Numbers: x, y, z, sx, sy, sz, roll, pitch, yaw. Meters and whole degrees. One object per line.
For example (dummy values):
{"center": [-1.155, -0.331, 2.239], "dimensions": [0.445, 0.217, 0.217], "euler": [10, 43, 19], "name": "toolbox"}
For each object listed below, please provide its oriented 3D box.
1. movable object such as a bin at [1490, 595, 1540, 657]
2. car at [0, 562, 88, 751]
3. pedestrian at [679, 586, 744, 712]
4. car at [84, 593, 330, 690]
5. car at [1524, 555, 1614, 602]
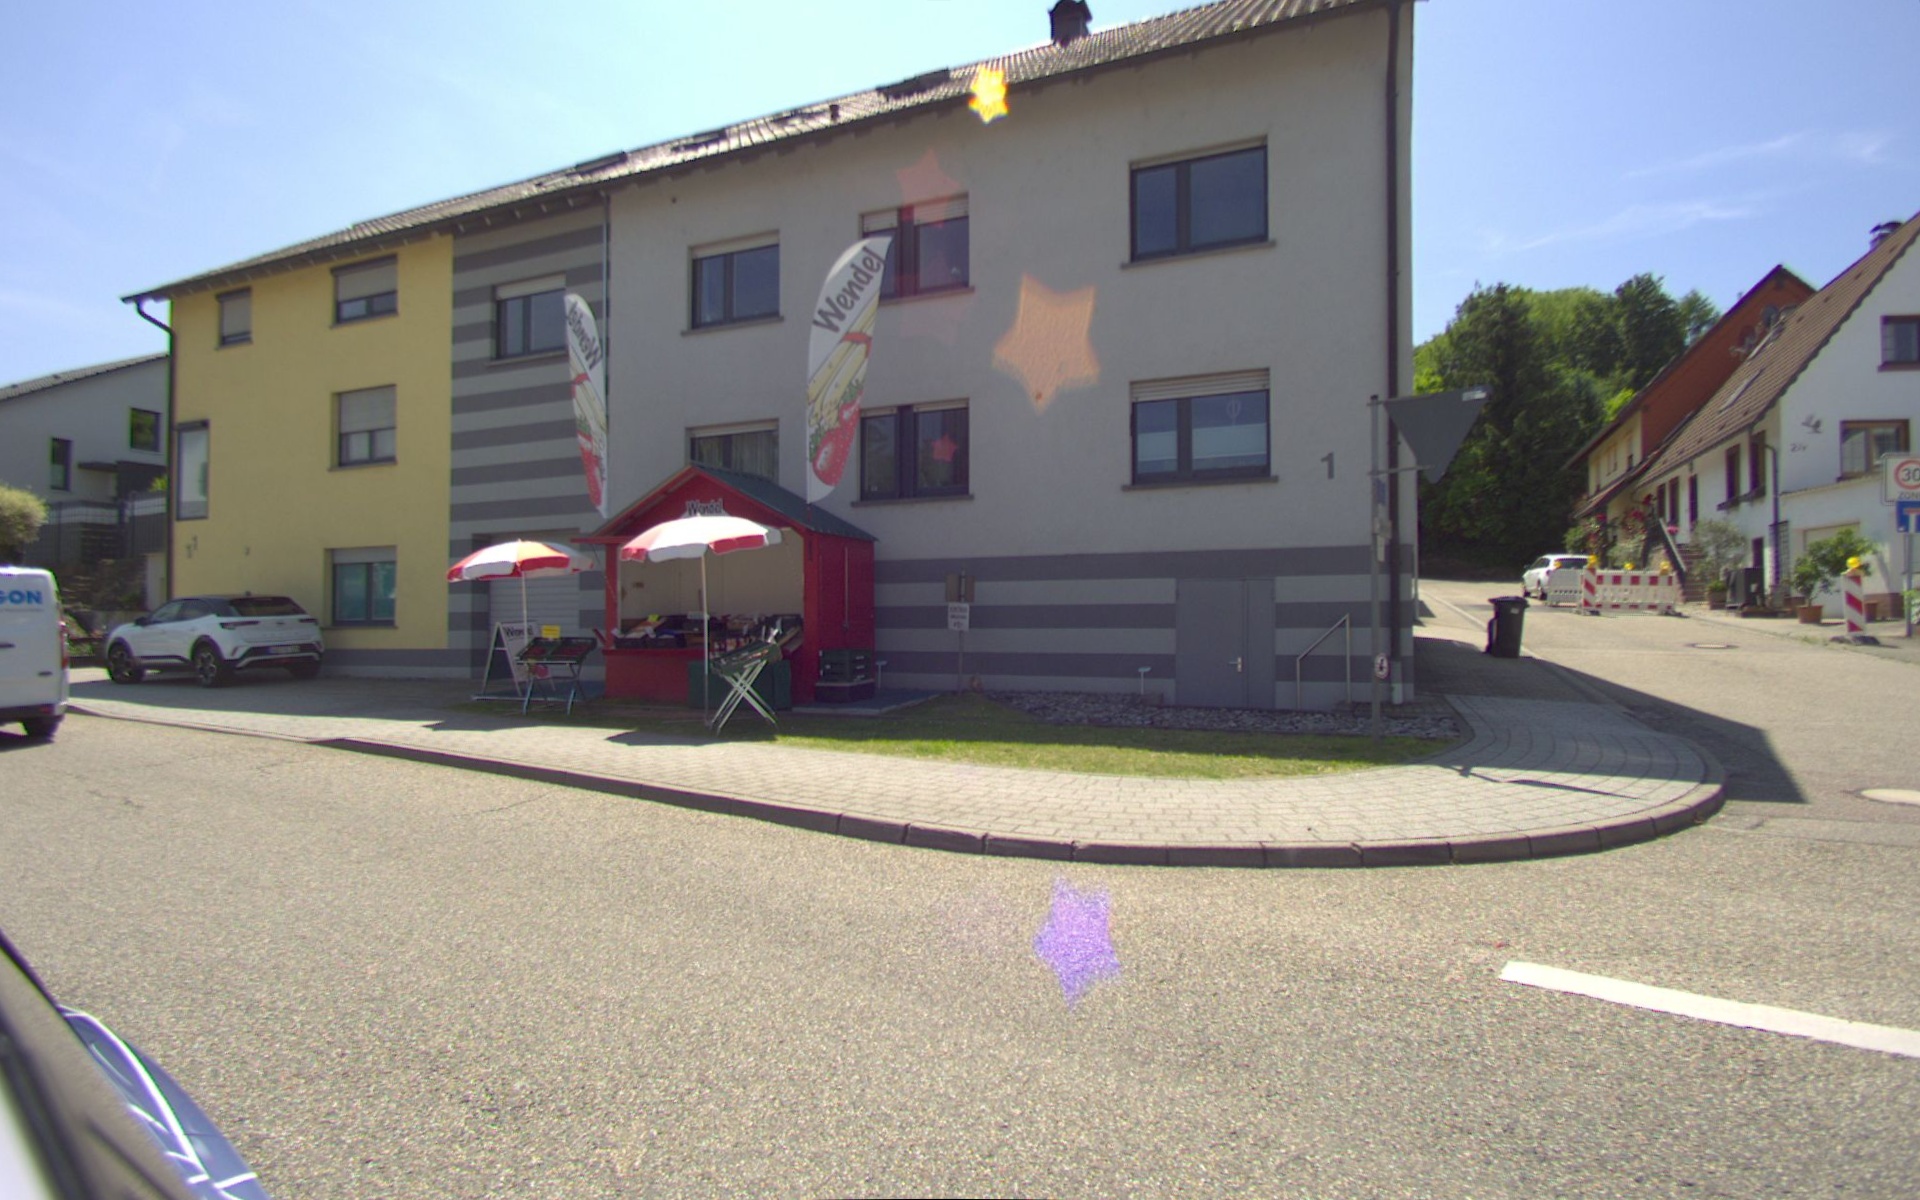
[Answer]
{"center": [8.710, 0.407, 15.900], "dimensions": [0.596, 0.941, 0.595], "euler": [-1, -2, 22], "name": "movable object such as a bin"}
{"center": [-12.625, 0.624, 11.866], "dimensions": [5.191, 2.015, 1.980], "euler": [-1, 0, 29], "name": "car"}
{"center": [-3.274, 0.632, 13.322], "dimensions": [0.602, 1.600, 0.811], "euler": [1, -2, -32], "name": "pedestrian"}
{"center": [-13.360, 0.692, 17.936], "dimensions": [4.164, 1.564, 1.721], "euler": [-1, -1, 25], "name": "car"}
{"center": [20.154, -0.729, 33.676], "dimensions": [1.897, 1.431, 4.351], "euler": [-1, 2, 22], "name": "car"}
